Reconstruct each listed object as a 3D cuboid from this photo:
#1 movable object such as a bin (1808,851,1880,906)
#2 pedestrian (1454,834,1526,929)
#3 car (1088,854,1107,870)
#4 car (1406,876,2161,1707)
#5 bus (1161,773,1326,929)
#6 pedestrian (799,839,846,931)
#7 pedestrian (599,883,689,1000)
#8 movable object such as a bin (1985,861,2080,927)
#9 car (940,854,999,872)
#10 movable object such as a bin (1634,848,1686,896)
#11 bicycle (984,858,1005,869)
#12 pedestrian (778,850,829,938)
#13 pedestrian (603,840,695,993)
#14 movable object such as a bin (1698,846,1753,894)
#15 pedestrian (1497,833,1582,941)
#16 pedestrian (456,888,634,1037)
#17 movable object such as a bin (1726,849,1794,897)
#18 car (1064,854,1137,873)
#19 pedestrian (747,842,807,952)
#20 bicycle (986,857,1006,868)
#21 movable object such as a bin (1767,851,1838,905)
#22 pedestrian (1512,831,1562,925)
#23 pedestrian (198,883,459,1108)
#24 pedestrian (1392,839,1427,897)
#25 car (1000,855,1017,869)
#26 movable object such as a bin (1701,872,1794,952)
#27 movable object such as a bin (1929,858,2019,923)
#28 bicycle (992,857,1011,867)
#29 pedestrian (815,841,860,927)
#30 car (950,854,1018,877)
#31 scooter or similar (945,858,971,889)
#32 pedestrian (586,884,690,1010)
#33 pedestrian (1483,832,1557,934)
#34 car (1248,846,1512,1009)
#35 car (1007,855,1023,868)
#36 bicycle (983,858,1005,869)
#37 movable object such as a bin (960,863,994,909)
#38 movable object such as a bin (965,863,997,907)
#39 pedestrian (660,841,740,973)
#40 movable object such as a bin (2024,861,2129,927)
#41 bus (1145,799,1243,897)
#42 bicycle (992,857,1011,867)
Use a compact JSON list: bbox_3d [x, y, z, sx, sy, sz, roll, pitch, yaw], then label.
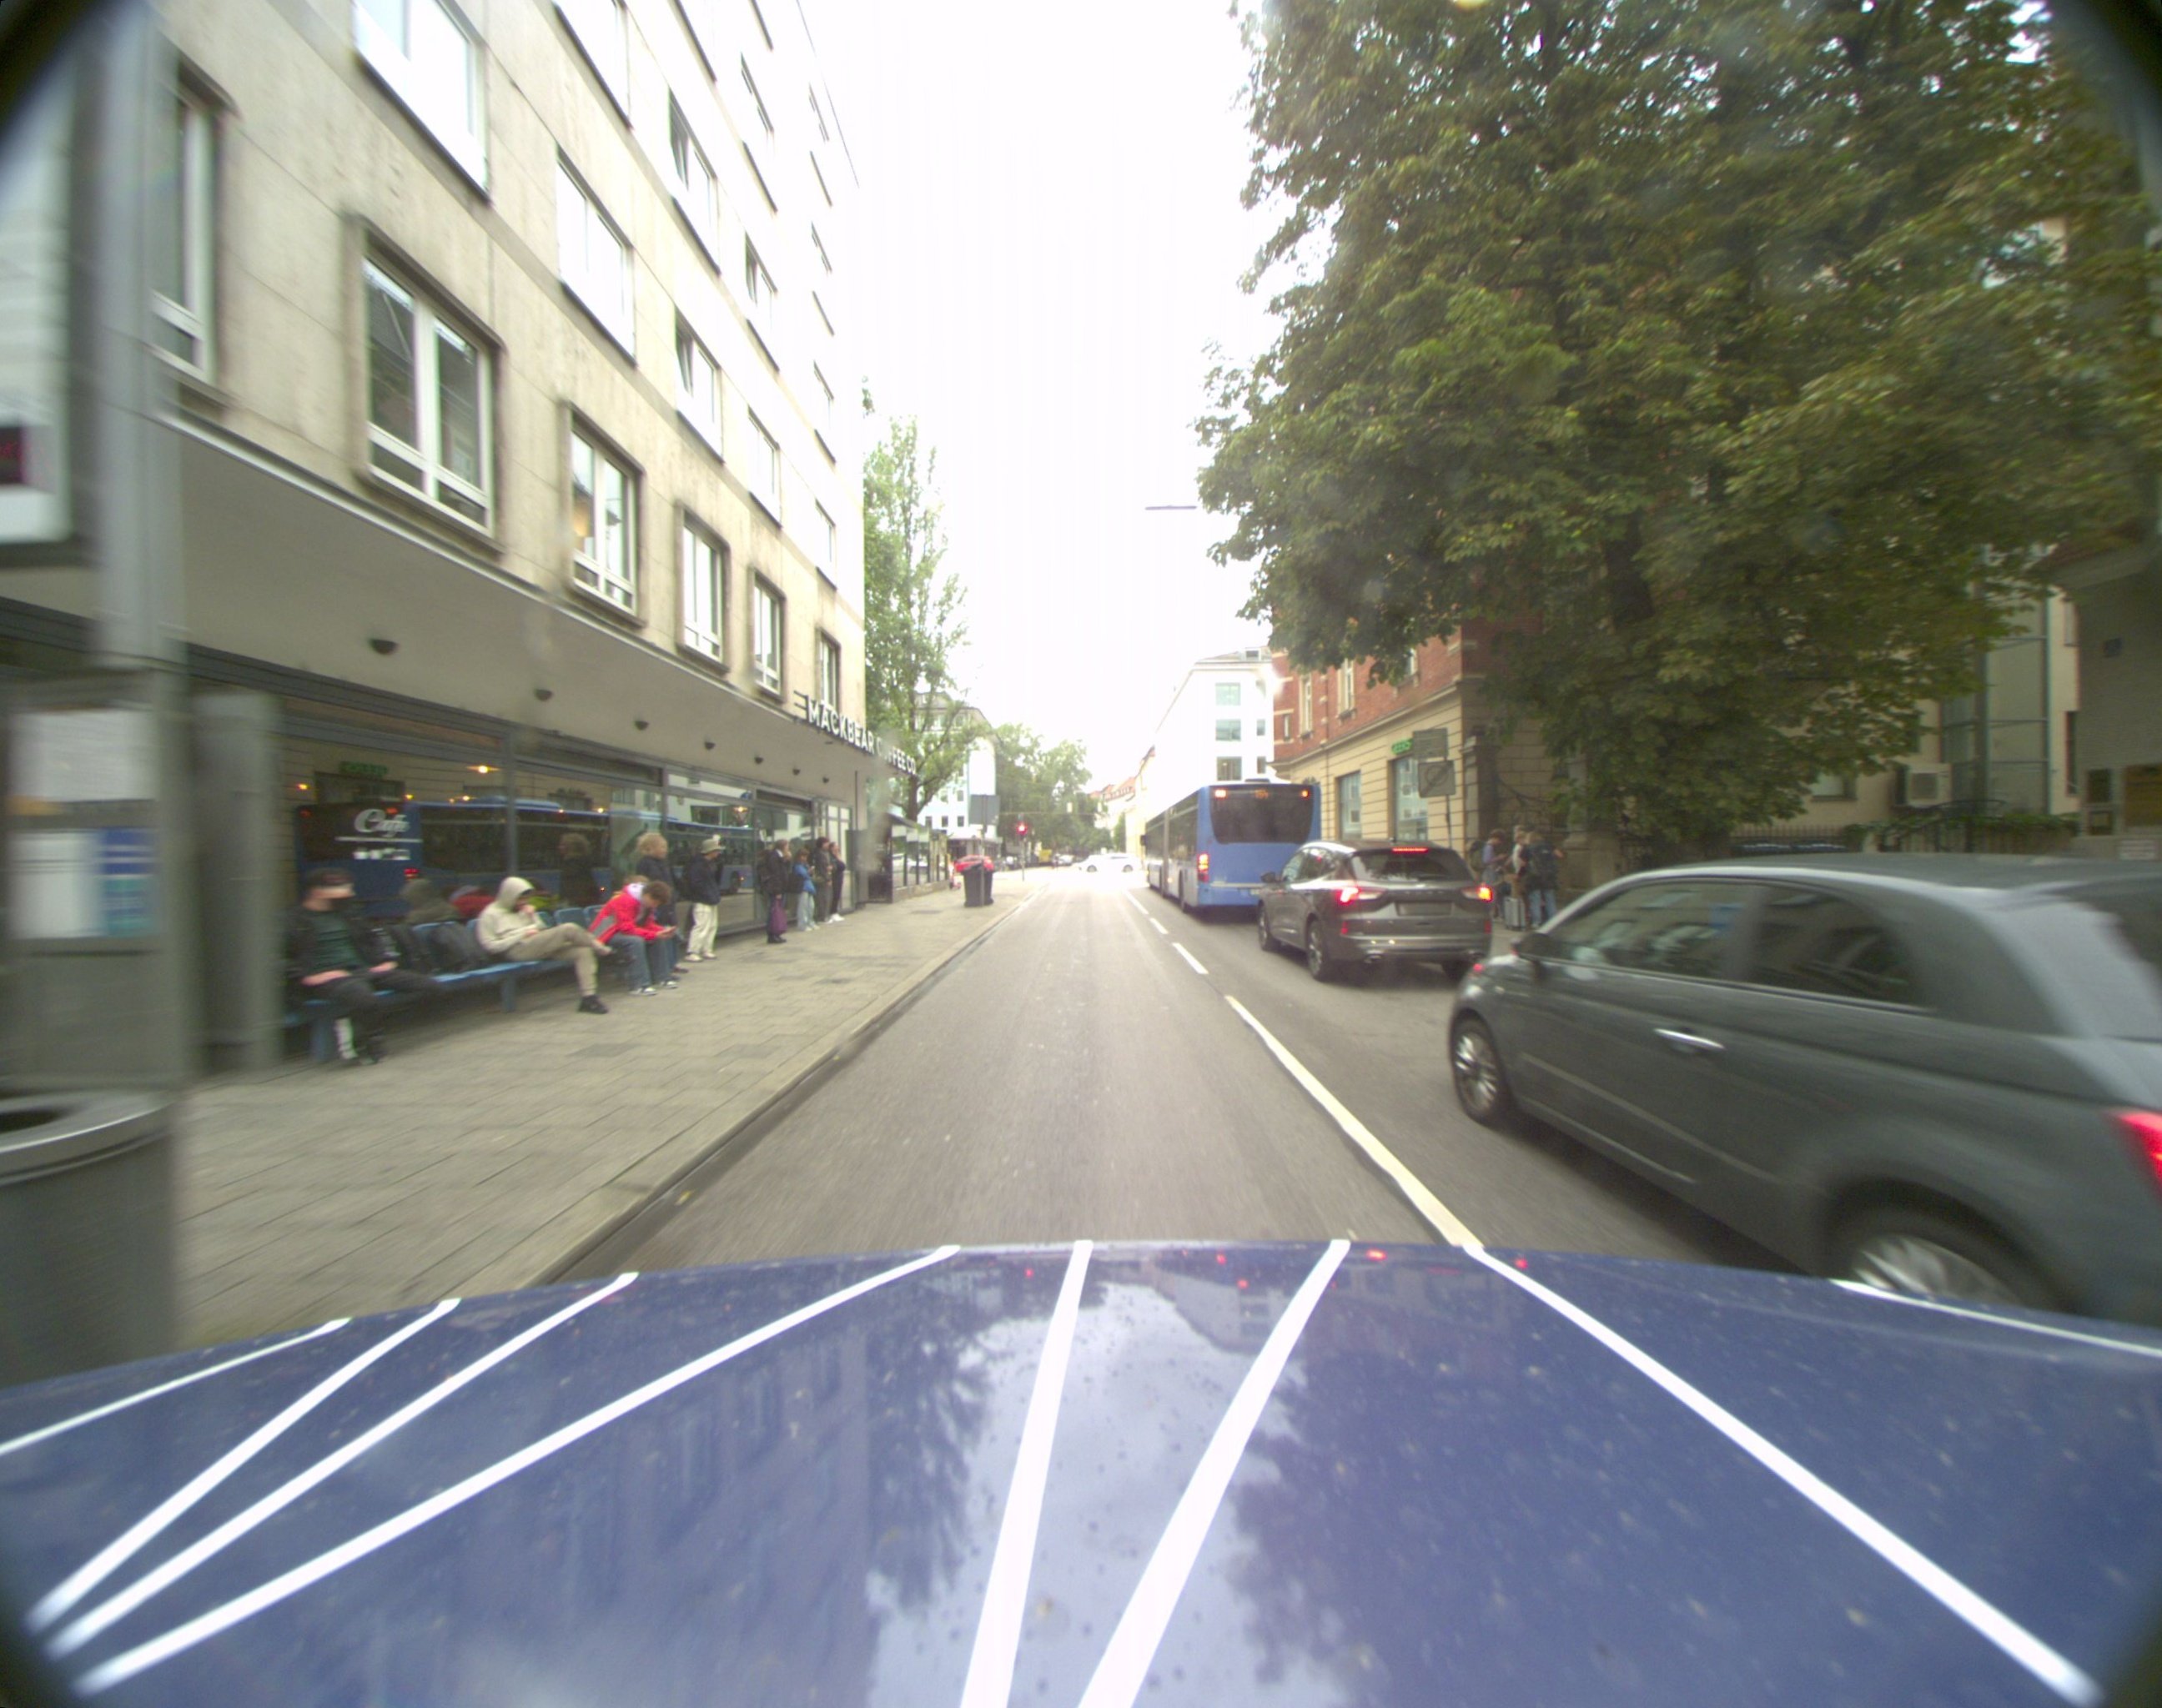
[{"bbox_3d":[17.610,0.557,17.555,0.856,1.204,0.813,-1,1,5],"label":"movable object such as a bin"},{"bbox_3d":[7.707,0.498,14.364,0.875,1.735,0.910,-1,1,1],"label":"pedestrian"},{"bbox_3d":[1.748,0.861,80.736,1.927,1.608,4.000,-1,1,0],"label":"car"},{"bbox_3d":[2.891,0.895,3.068,1.588,1.471,3.782,0,0,1],"label":"car"},{"bbox_3d":[3.692,-0.088,19.548,2.586,3.083,8.923,0,0,2],"label":"bus"},{"bbox_3d":[-5.196,0.602,15.307,0.659,1.812,0.696,0,1,1],"label":"pedestrian"},{"bbox_3d":[-4.792,0.943,8.353,0.681,1.230,0.495,0,1,1],"label":"pedestrian"},{"bbox_3d":[16.321,0.671,13.050,0.623,1.080,0.813,-1,1,5],"label":"movable object such as a bin"},{"bbox_3d":[-8.786,0.699,60.077,4.355,1.420,2.000,0,1,0],"label":"car"},{"bbox_3d":[13.550,0.402,17.787,0.623,1.080,0.813,-1,1,5],"label":"movable object such as a bin"},{"bbox_3d":[-8.919,0.962,78.379,2.124,1.110,0.738,0,1,-9],"label":"bicycle"},{"bbox_3d":[-5.138,0.724,14.091,0.659,1.584,0.696,0,1,1],"label":"pedestrian"},{"bbox_3d":[-5.050,0.705,8.918,0.659,1.723,0.684,0,1,1],"label":"pedestrian"},{"bbox_3d":[14.989,0.364,17.685,0.623,1.080,0.813,-1,1,5],"label":"movable object such as a bin"},{"bbox_3d":[7.589,0.527,12.617,0.910,1.735,0.847,-1,1,1],"label":"pedestrian"},{"bbox_3d":[-4.757,0.939,6.800,1.099,1.230,0.668,0,1,1],"label":"pedestrian"},{"bbox_3d":[15.778,0.429,17.675,0.856,1.085,0.813,-1,1,5],"label":"movable object such as a bin"},{"bbox_3d":[1.473,0.695,57.509,5.440,1.420,2.000,0,1,0],"label":"car"},{"bbox_3d":[-4.877,0.671,12.221,0.659,1.723,0.696,0,1,1],"label":"pedestrian"},{"bbox_3d":[-9.076,0.930,81.392,2.124,1.110,0.629,0,1,-9],"label":"bicycle"},{"bbox_3d":[16.694,0.541,17.602,0.856,1.204,0.813,-1,1,5],"label":"movable object such as a bin"},{"bbox_3d":[8.694,0.438,14.481,0.784,1.735,0.877,0,1,33],"label":"pedestrian"},{"bbox_3d":[-4.985,0.890,5.107,0.862,1.344,0.862,0,1,1],"label":"pedestrian"},{"bbox_3d":[8.938,0.372,20.708,0.625,1.529,0.754,0,1,-1],"label":"pedestrian"},{"bbox_3d":[-8.647,0.916,91.263,1.718,1.543,3.999,0,0,0],"label":"car"},{"bbox_3d":[9.639,0.824,11.007,0.813,1.080,0.623,-2,1,-8],"label":"movable object such as a bin"},{"bbox_3d":[15.445,0.617,13.160,0.623,1.080,0.813,-1,1,5],"label":"movable object such as a bin"},{"bbox_3d":[-8.897,0.891,84.838,2.124,1.110,0.629,0,1,-9],"label":"bicycle"},{"bbox_3d":[-5.145,0.619,16.075,0.659,1.773,0.771,0,1,1],"label":"pedestrian"},{"bbox_3d":[-6.290,0.713,49.448,4.169,1.420,2.000,0,1,0],"label":"car"},{"bbox_3d":[-5.108,0.811,31.587,0.563,1.234,1.445,-1,1,11],"label":"scooter or similar"},{"bbox_3d":[-4.546,0.936,7.838,0.709,1.230,0.585,0,1,1],"label":"pedestrian"},{"bbox_3d":[7.767,0.499,13.474,0.875,1.735,0.786,-1,1,1],"label":"pedestrian"},{"bbox_3d":[3.484,0.731,9.796,1.772,1.635,4.273,0,0,1],"label":"car"},{"bbox_3d":[-8.299,0.892,96.416,1.718,1.543,3.999,0,0,0],"label":"car"},{"bbox_3d":[-8.888,0.958,77.541,2.124,1.110,0.738,0,1,-9],"label":"bicycle"},{"bbox_3d":[-2.934,0.893,21.456,0.877,1.243,0.798,0,1,-4],"label":"movable object such as a bin"},{"bbox_3d":[-2.928,0.897,22.300,0.877,1.243,0.798,0,1,-4],"label":"movable object such as a bin"},{"bbox_3d":[-5.156,0.691,10.314,0.659,1.723,0.778,0,1,1],"label":"pedestrian"},{"bbox_3d":[17.094,0.672,13.073,0.732,1.080,0.813,-1,1,5],"label":"movable object such as a bin"},{"bbox_3d":[3.952,-0.204,28.505,2.586,3.083,9.108,0,0,2],"label":"bus"},{"bbox_3d":[-8.972,0.851,85.707,2.124,1.110,0.629,0,1,-9],"label":"bicycle"}]
